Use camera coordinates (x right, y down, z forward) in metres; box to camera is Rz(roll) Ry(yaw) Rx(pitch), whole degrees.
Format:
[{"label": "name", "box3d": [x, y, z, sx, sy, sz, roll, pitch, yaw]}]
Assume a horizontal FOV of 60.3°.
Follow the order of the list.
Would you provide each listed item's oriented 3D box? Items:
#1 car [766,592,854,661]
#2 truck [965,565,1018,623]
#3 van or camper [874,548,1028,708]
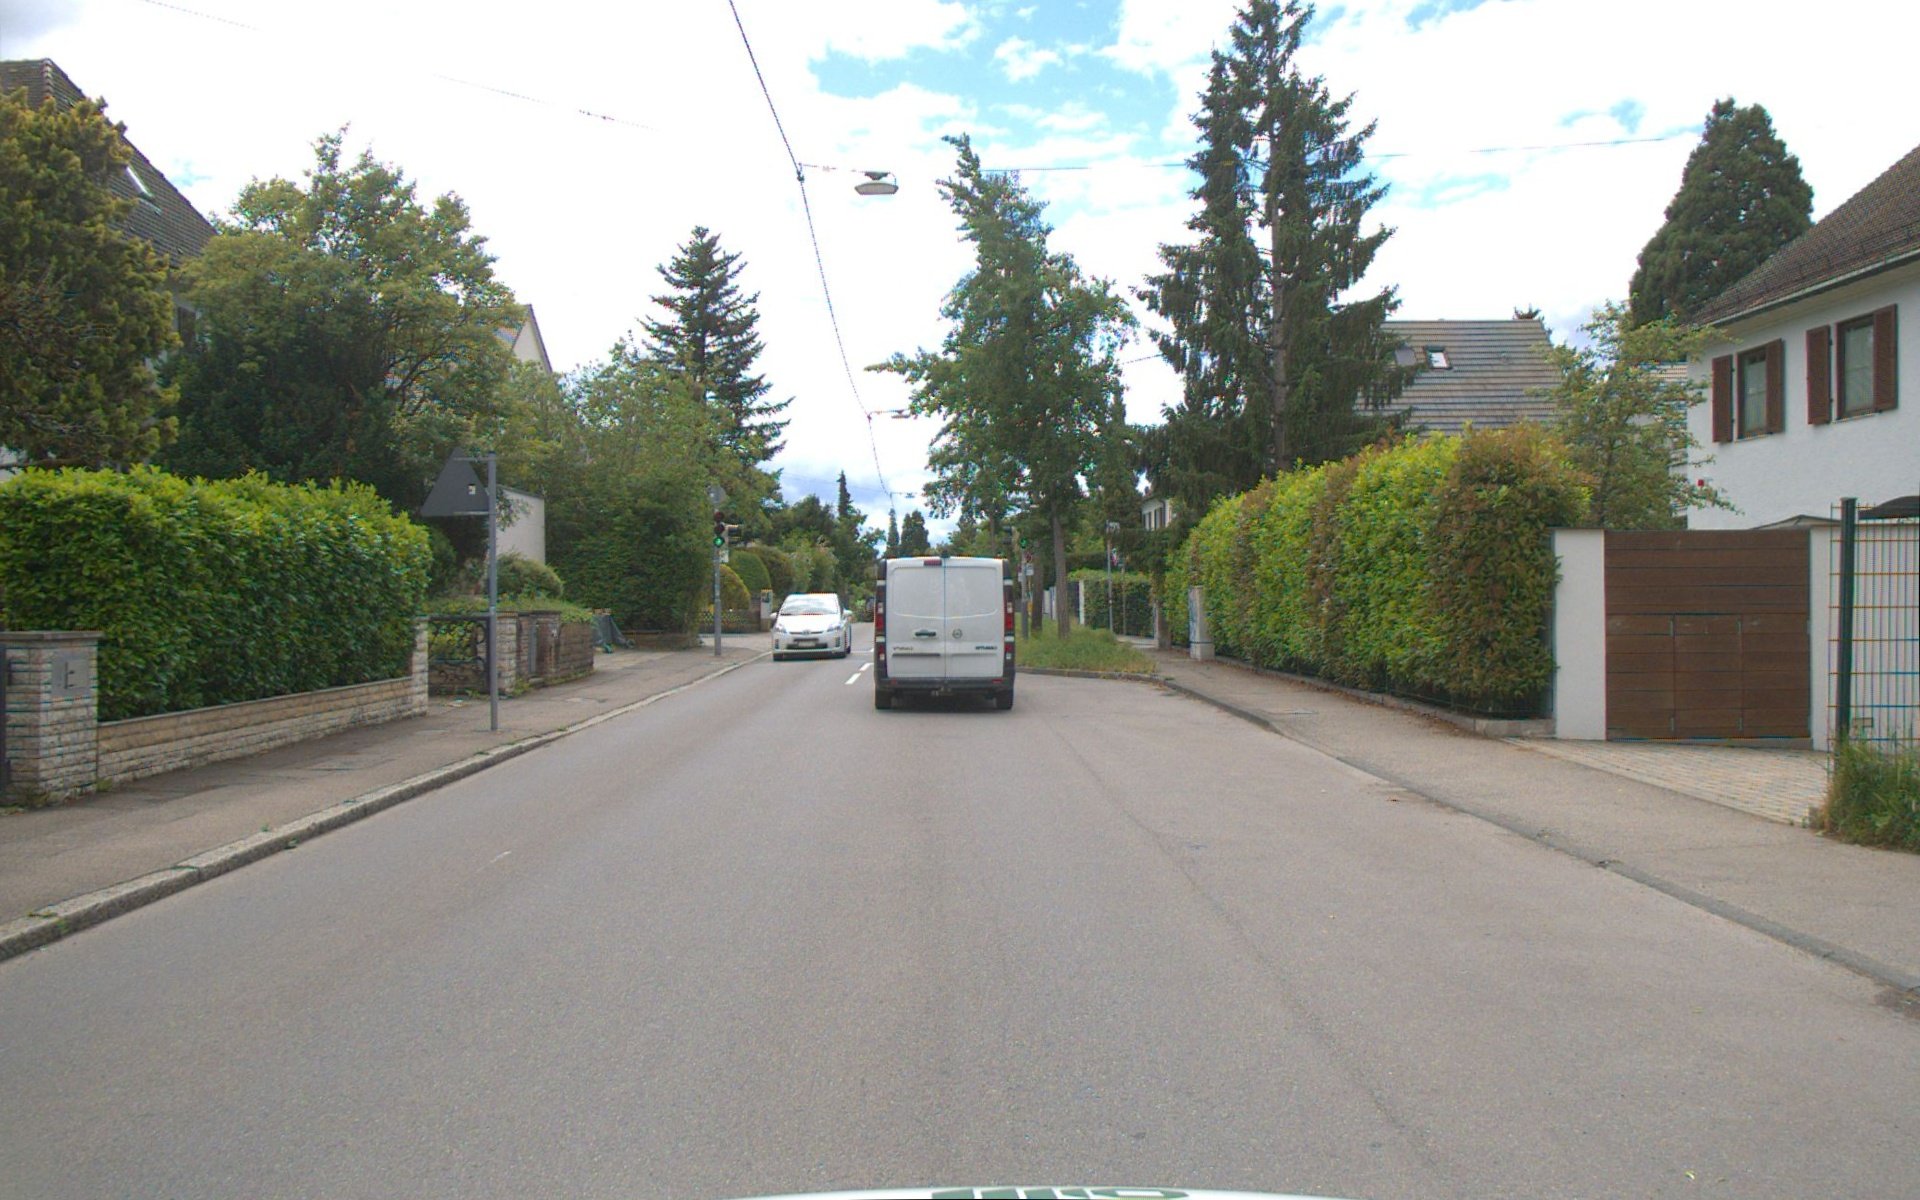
[{"label": "car", "box3d": [-3.550, 0.585, 39.808, 1.817, 1.476, 4.279, -3, 0, -2]}, {"label": "truck", "box3d": [1.368, -0.275, 76.040, 2.143, 2.515, 7.428, 0, 0, -1]}, {"label": "van or camper", "box3d": [-0.177, 0.395, 22.899, 1.900, 1.988, 4.763, 0, -1, -2]}]
